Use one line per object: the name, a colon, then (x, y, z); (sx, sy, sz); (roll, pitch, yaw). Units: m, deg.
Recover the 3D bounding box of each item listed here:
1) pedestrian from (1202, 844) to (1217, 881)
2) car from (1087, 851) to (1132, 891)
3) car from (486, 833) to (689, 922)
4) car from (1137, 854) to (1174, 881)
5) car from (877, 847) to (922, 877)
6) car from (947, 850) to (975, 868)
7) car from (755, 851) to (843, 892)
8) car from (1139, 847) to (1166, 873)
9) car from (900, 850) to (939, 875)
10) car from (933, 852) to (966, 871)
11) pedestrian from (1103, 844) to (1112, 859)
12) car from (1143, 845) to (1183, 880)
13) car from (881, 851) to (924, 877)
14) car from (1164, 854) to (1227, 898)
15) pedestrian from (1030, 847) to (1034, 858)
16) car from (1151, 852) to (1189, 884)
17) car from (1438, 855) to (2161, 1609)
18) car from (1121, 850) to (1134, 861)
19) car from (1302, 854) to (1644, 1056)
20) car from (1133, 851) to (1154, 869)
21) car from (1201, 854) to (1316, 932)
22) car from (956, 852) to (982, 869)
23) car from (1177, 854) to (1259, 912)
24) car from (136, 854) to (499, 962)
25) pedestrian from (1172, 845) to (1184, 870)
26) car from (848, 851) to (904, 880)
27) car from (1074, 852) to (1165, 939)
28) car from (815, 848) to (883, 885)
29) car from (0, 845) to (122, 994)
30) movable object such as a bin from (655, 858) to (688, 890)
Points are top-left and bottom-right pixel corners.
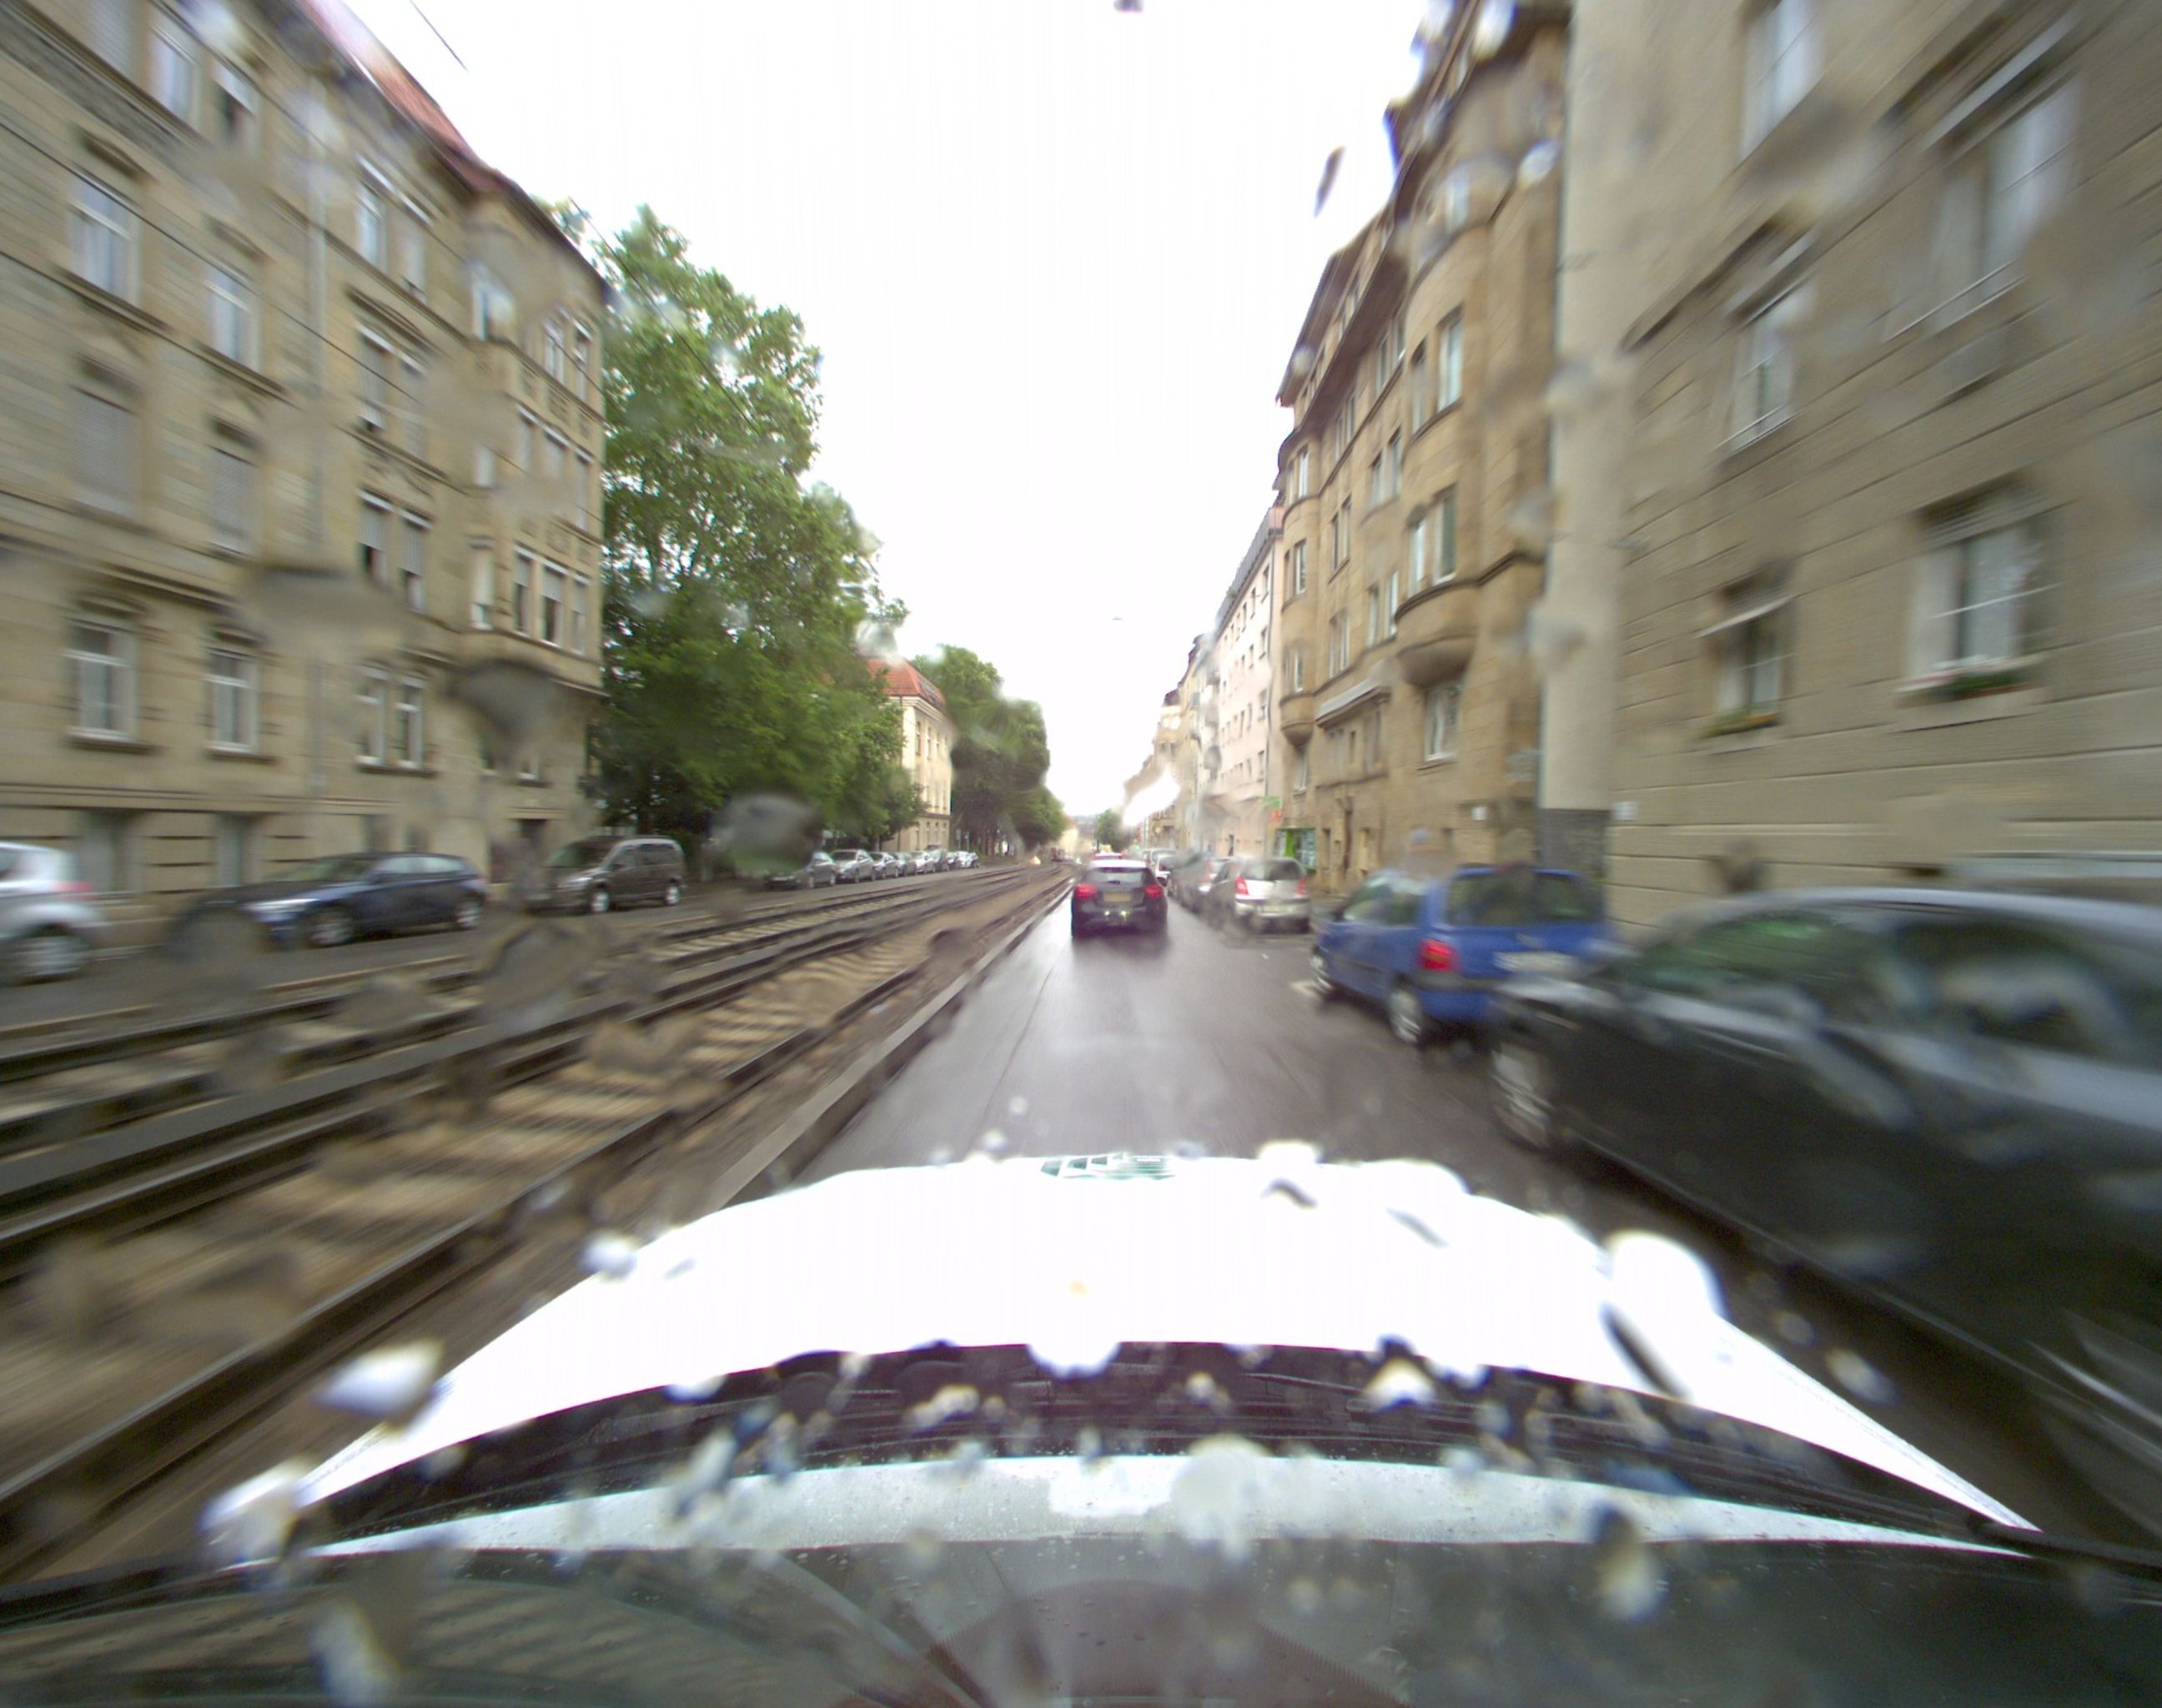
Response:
pedestrian: (6.354, 0.421, 40.358); (0.605, 1.763, 0.689); (-2, 0, 1)
car: (1.191, 0.670, 34.234); (1.778, 1.581, 4.002); (0, 0, 2)
car: (-11.613, 0.490, 19.654); (1.794, 1.846, 4.821); (-1, 0, 2)
car: (4.383, 0.751, 48.418); (1.865, 1.455, 4.904); (0, 0, 1)
car: (-10.603, 0.431, 47.736); (1.571, 1.643, 4.073); (-2, 0, 1)
car: (-9.912, 0.380, 67.359); (1.494, 1.391, 3.991); (-2, 0, 3)
car: (-11.051, 0.628, 32.267); (1.843, 1.464, 4.550); (-2, 0, 0)
car: (5.034, 0.400, 58.075); (1.820, 1.750, 4.471); (0, 0, 4)
car: (-10.366, 0.516, 52.607); (1.534, 1.505, 4.155); (-2, 0, 1)
car: (-10.137, 0.568, 62.956); (1.668, 1.413, 4.013); (-2, 0, 3)
pedestrian: (3.707, -0.379, 113.655); (1.135, 1.998, 1.171); (-1, 0, -2)
car: (4.323, 0.431, 43.446); (1.784, 1.765, 4.213); (-1, 0, 1)
car: (-10.371, 0.571, 47.562); (1.534, 1.413, 3.954); (-2, 0, 1)
car: (3.953, 0.721, 28.739); (1.664, 1.410, 4.312); (-1, 0, 0)
pedestrian: (-7.789, -0.191, 130.188); (0.532, 1.754, 0.607); (2, 0, 2)
car: (4.228, 0.627, 38.931); (1.564, 1.462, 3.602); (0, 0, 2)
car: (3.024, 0.743, 2.884); (1.781, 1.462, 4.084); (0, 0, 1)
car: (7.153, 0.223, 125.745); (1.820, 1.618, 3.866); (-1, 0, 2)
car: (3.254, 0.717, 7.515); (1.538, 1.415, 3.446); (0, 0, 1)
car: (5.465, 0.486, 71.244); (1.686, 1.529, 4.002); (0, 0, 2)
car: (3.594, 0.727, 17.076); (1.585, 1.434, 3.683); (-1, 0, 0)
car: (-9.875, 0.546, 71.810); (1.608, 1.429, 3.854); (0, 1, 2)
car: (3.697, 0.724, 22.555); (1.662, 1.434, 3.957); (-1, 0, 1)
car: (-11.836, 0.728, 13.136); (1.756, 1.398, 4.270); (-1, 0, 1)
pedestrian: (7.444, 0.279, 62.473); (0.743, 1.833, 1.040); (-2, 0, 3)
car: (-10.738, 0.573, 42.949); (1.748, 1.413, 4.154); (-2, 0, 1)
car: (0.723, 0.723, 15.908); (1.574, 1.505, 3.576); (0, 0, 2)
car: (-10.661, 0.542, 37.761); (1.748, 1.536, 4.544); (-2, 0, 1)
car: (-11.994, 0.691, 7.482); (1.688, 1.524, 3.857); (-1, 0, 2)
movable object such as a bin: (-14.500, 0.694, 28.848); (0.713, 1.120, 0.774); (1, 0, 4)
